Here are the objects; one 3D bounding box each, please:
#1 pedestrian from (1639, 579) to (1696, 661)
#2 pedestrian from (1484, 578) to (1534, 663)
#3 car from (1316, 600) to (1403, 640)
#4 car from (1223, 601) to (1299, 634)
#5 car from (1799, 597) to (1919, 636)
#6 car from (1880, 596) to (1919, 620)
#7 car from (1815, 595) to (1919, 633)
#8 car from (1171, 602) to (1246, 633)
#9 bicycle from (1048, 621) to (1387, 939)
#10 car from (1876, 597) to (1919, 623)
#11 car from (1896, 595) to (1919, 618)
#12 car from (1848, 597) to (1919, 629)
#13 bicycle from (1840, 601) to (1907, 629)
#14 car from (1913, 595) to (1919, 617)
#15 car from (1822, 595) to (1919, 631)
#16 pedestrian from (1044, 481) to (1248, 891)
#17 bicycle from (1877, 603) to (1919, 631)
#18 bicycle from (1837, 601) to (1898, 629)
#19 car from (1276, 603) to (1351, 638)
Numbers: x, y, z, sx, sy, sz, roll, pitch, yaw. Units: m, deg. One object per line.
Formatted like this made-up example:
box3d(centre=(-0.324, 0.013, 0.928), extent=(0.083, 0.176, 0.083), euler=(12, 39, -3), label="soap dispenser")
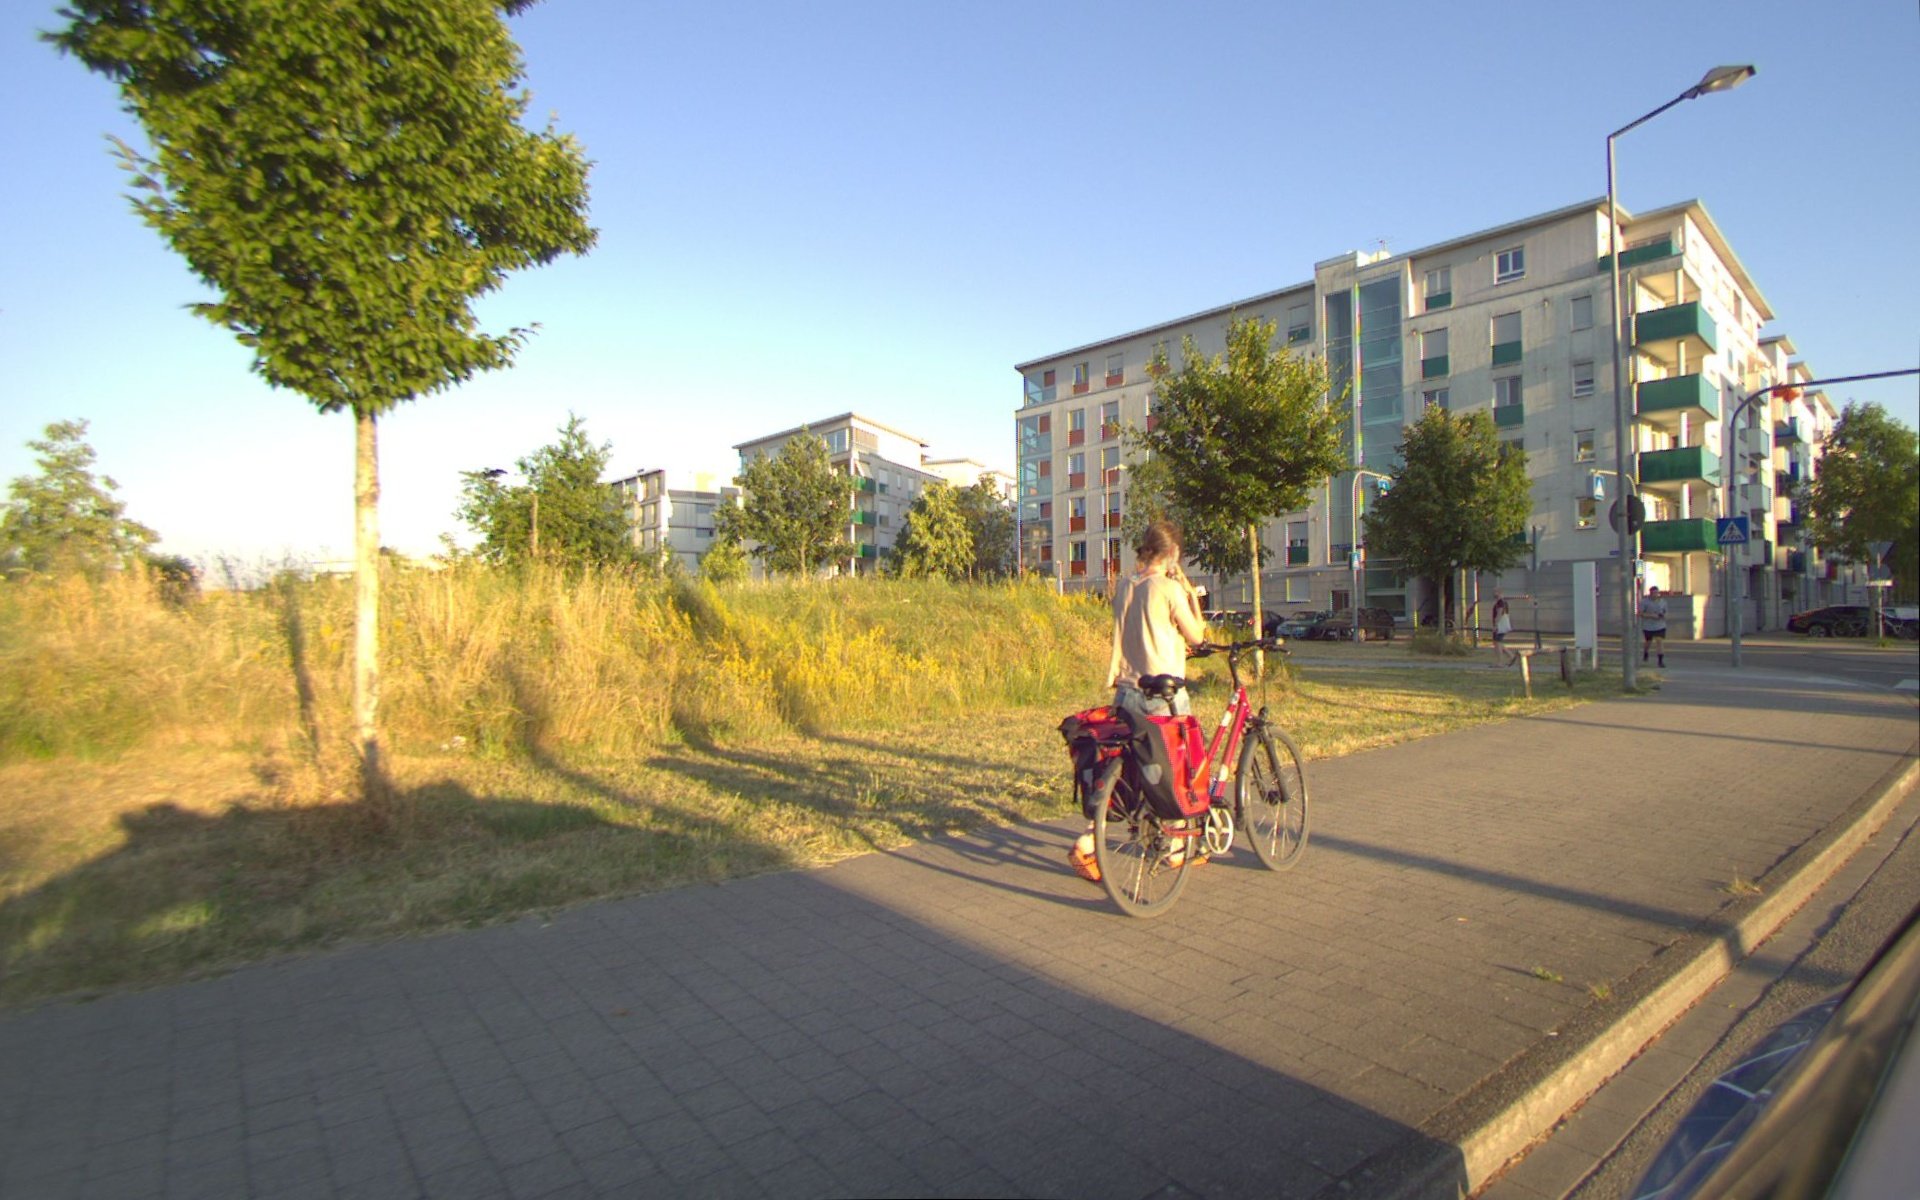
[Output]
box3d(centre=(15.528, 0.436, 22.209), extent=(0.753, 1.752, 0.801), euler=(1, -2, -36), label="pedestrian")
box3d(centre=(12.055, 0.453, 22.230), extent=(0.788, 1.807, 0.732), euler=(1, -2, -43), label="pedestrian")
box3d(centre=(17.597, 0.856, 44.485), extent=(4.406, 1.506, 1.829), euler=(-3, 1, -43), label="car")
box3d(centre=(14.527, 0.842, 48.716), extent=(3.987, 1.499, 1.697), euler=(1, -2, -43), label="car")
box3d(centre=(38.682, 0.683, 42.666), extent=(1.904, 1.476, 4.883), euler=(1, 1, -41), label="car")
box3d(centre=(65.079, 0.546, 68.322), extent=(1.664, 1.555, 4.246), euler=(1, 1, -42), label="car")
box3d(centre=(40.701, 0.617, 44.568), extent=(1.712, 1.527, 4.410), euler=(1, 1, -40), label="car")
box3d(centre=(12.383, 0.870, 50.312), extent=(3.987, 1.499, 1.697), euler=(1, -2, -43), label="car")
box3d(centre=(1.242, 0.694, 4.604), extent=(1.906, 1.184, 0.450), euler=(1, -2, -40), label="bicycle")
box3d(centre=(58.493, 0.637, 61.403), extent=(4.239, 1.528, 1.725), euler=(2, 1, 42), label="car")
box3d(centre=(69.640, 0.505, 72.095), extent=(1.664, 1.555, 4.246), euler=(1, 1, -42), label="car")
box3d(centre=(47.854, 0.683, 51.251), extent=(4.282, 1.526, 1.659), euler=(2, 1, 43), label="car")
box3d(centre=(37.301, 0.620, 41.352), extent=(2.028, 1.059, 0.466), euler=(2, 0, 43), label="bicycle")
box3d(centre=(79.050, 0.558, 80.730), extent=(1.664, 1.801, 4.246), euler=(1, 1, -42), label="car")
box3d(centre=(42.585, 0.576, 46.593), extent=(1.714, 1.512, 4.286), euler=(1, 1, -44), label="car")
box3d(centre=(0.917, 0.388, 5.005), extent=(0.803, 1.825, 0.596), euler=(1, -2, -38), label="pedestrian")
box3d(centre=(37.746, 0.672, 40.250), extent=(1.834, 1.085, 0.466), euler=(2, 0, 43), label="bicycle")
box3d(centre=(36.448, 0.611, 40.682), extent=(1.787, 1.055, 0.558), euler=(2, 0, 43), label="bicycle")
box3d(centre=(16.435, 0.927, 46.968), extent=(3.939, 1.391, 1.556), euler=(-3, 1, -43), label="car")
